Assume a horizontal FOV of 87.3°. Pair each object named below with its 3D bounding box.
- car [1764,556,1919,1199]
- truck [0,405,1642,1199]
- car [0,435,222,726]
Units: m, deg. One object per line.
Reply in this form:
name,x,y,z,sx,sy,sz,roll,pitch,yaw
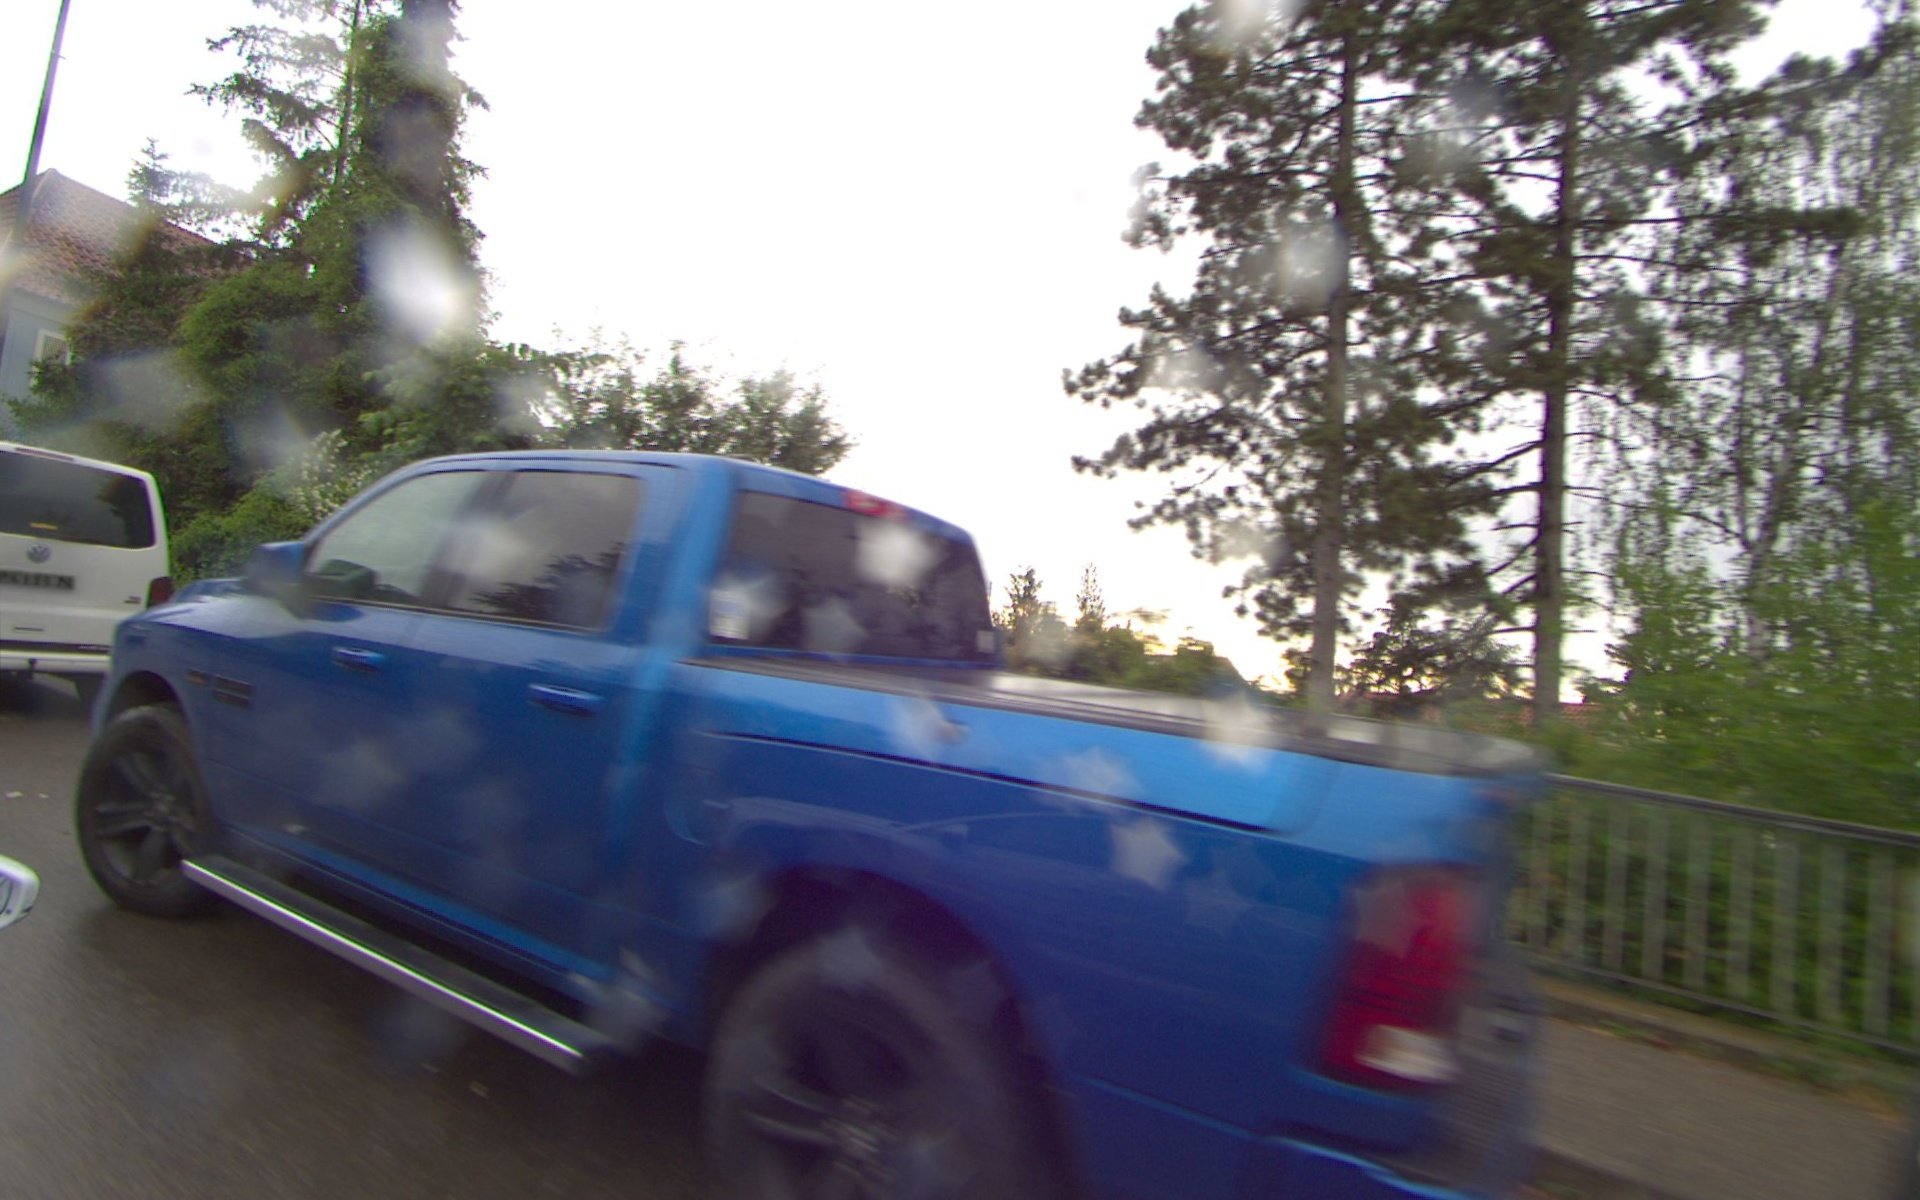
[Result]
car,4.024,1.067,0.624,5.183,1.864,1.830,7,-1,32
truck,-1.438,0.475,3.954,6.507,1.871,2.121,7,-4,31
car,-8.496,-0.344,8.332,4.994,1.942,1.865,7,-3,31
